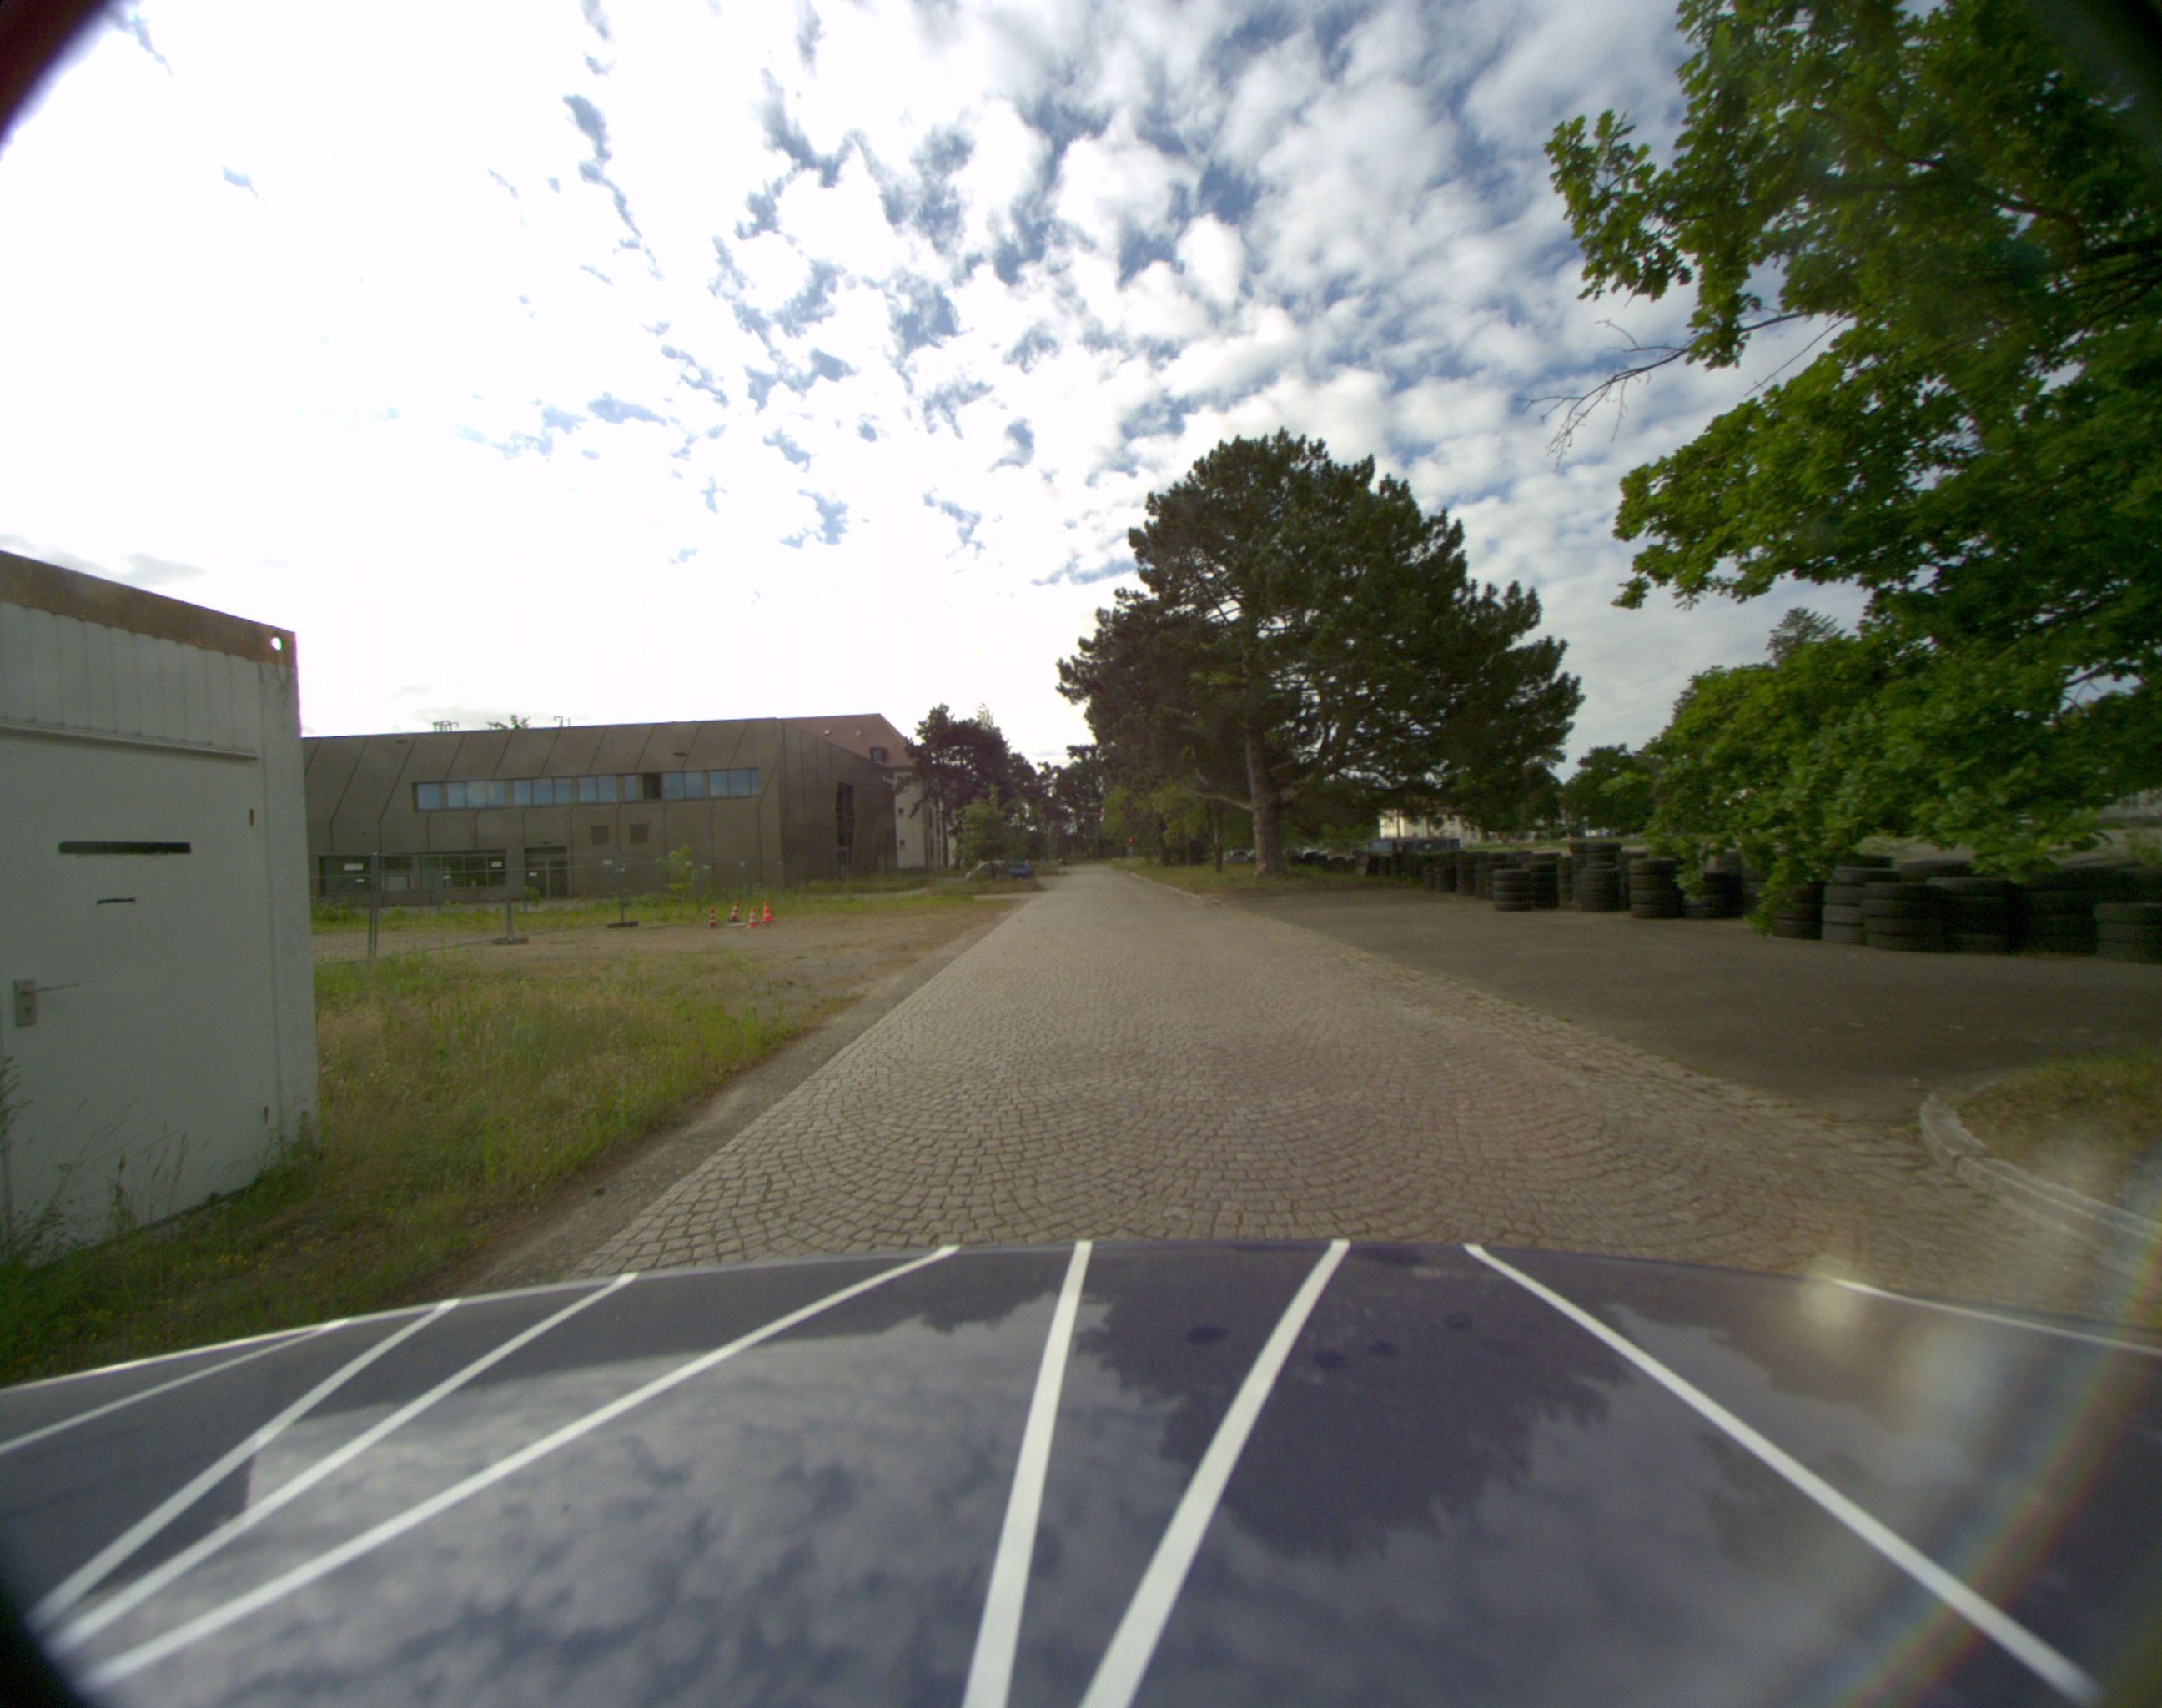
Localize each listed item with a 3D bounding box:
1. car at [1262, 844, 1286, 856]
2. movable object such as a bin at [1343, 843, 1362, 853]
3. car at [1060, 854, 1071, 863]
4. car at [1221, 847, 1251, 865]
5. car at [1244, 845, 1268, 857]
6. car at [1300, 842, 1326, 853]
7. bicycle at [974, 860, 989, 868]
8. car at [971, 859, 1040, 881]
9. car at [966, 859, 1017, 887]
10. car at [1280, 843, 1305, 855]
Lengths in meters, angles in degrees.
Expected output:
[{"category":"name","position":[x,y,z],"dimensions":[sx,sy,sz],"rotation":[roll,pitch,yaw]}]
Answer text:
[{"category":"car","position":[26.318,-0.545,103.737],"dimensions":[1.999,1.441,4.452],"rotation":[-3,0,-3]},{"category":"movable object such as a bin","position":[32.699,-0.737,91.512],"dimensions":[1.057,1.064,2.719],"rotation":[-3,0,-8]},{"category":"car","position":[-3.351,0.944,167.171],"dimensions":[1.999,1.777,3.998],"rotation":[-3,0,-5]},{"category":"car","position":[13.426,0.159,65.787],"dimensions":[1.670,1.402,3.723],"rotation":[-3,0,-2]},{"category":"car","position":[23.811,-0.408,103.277],"dimensions":[1.999,1.441,4.452],"rotation":[-3,0,-3]},{"category":"car","position":[31.781,-0.838,104.323],"dimensions":[1.999,1.441,4.452],"rotation":[-3,0,-3]},{"category":"bicycle","position":[-14.396,1.491,109.933],"dimensions":[2.164,1.088,0.717],"rotation":[-3,1,-3]},{"category":"car","position":[-5.075,1.089,51.673],"dimensions":[4.537,1.441,1.931],"rotation":[0,0,-2]},{"category":"car","position":[-5.167,1.093,44.316],"dimensions":[2.748,1.573,1.682],"rotation":[0,0,0]},{"category":"car","position":[28.898,-0.681,103.817],"dimensions":[1.999,1.441,4.452],"rotation":[-3,0,-3]}]
